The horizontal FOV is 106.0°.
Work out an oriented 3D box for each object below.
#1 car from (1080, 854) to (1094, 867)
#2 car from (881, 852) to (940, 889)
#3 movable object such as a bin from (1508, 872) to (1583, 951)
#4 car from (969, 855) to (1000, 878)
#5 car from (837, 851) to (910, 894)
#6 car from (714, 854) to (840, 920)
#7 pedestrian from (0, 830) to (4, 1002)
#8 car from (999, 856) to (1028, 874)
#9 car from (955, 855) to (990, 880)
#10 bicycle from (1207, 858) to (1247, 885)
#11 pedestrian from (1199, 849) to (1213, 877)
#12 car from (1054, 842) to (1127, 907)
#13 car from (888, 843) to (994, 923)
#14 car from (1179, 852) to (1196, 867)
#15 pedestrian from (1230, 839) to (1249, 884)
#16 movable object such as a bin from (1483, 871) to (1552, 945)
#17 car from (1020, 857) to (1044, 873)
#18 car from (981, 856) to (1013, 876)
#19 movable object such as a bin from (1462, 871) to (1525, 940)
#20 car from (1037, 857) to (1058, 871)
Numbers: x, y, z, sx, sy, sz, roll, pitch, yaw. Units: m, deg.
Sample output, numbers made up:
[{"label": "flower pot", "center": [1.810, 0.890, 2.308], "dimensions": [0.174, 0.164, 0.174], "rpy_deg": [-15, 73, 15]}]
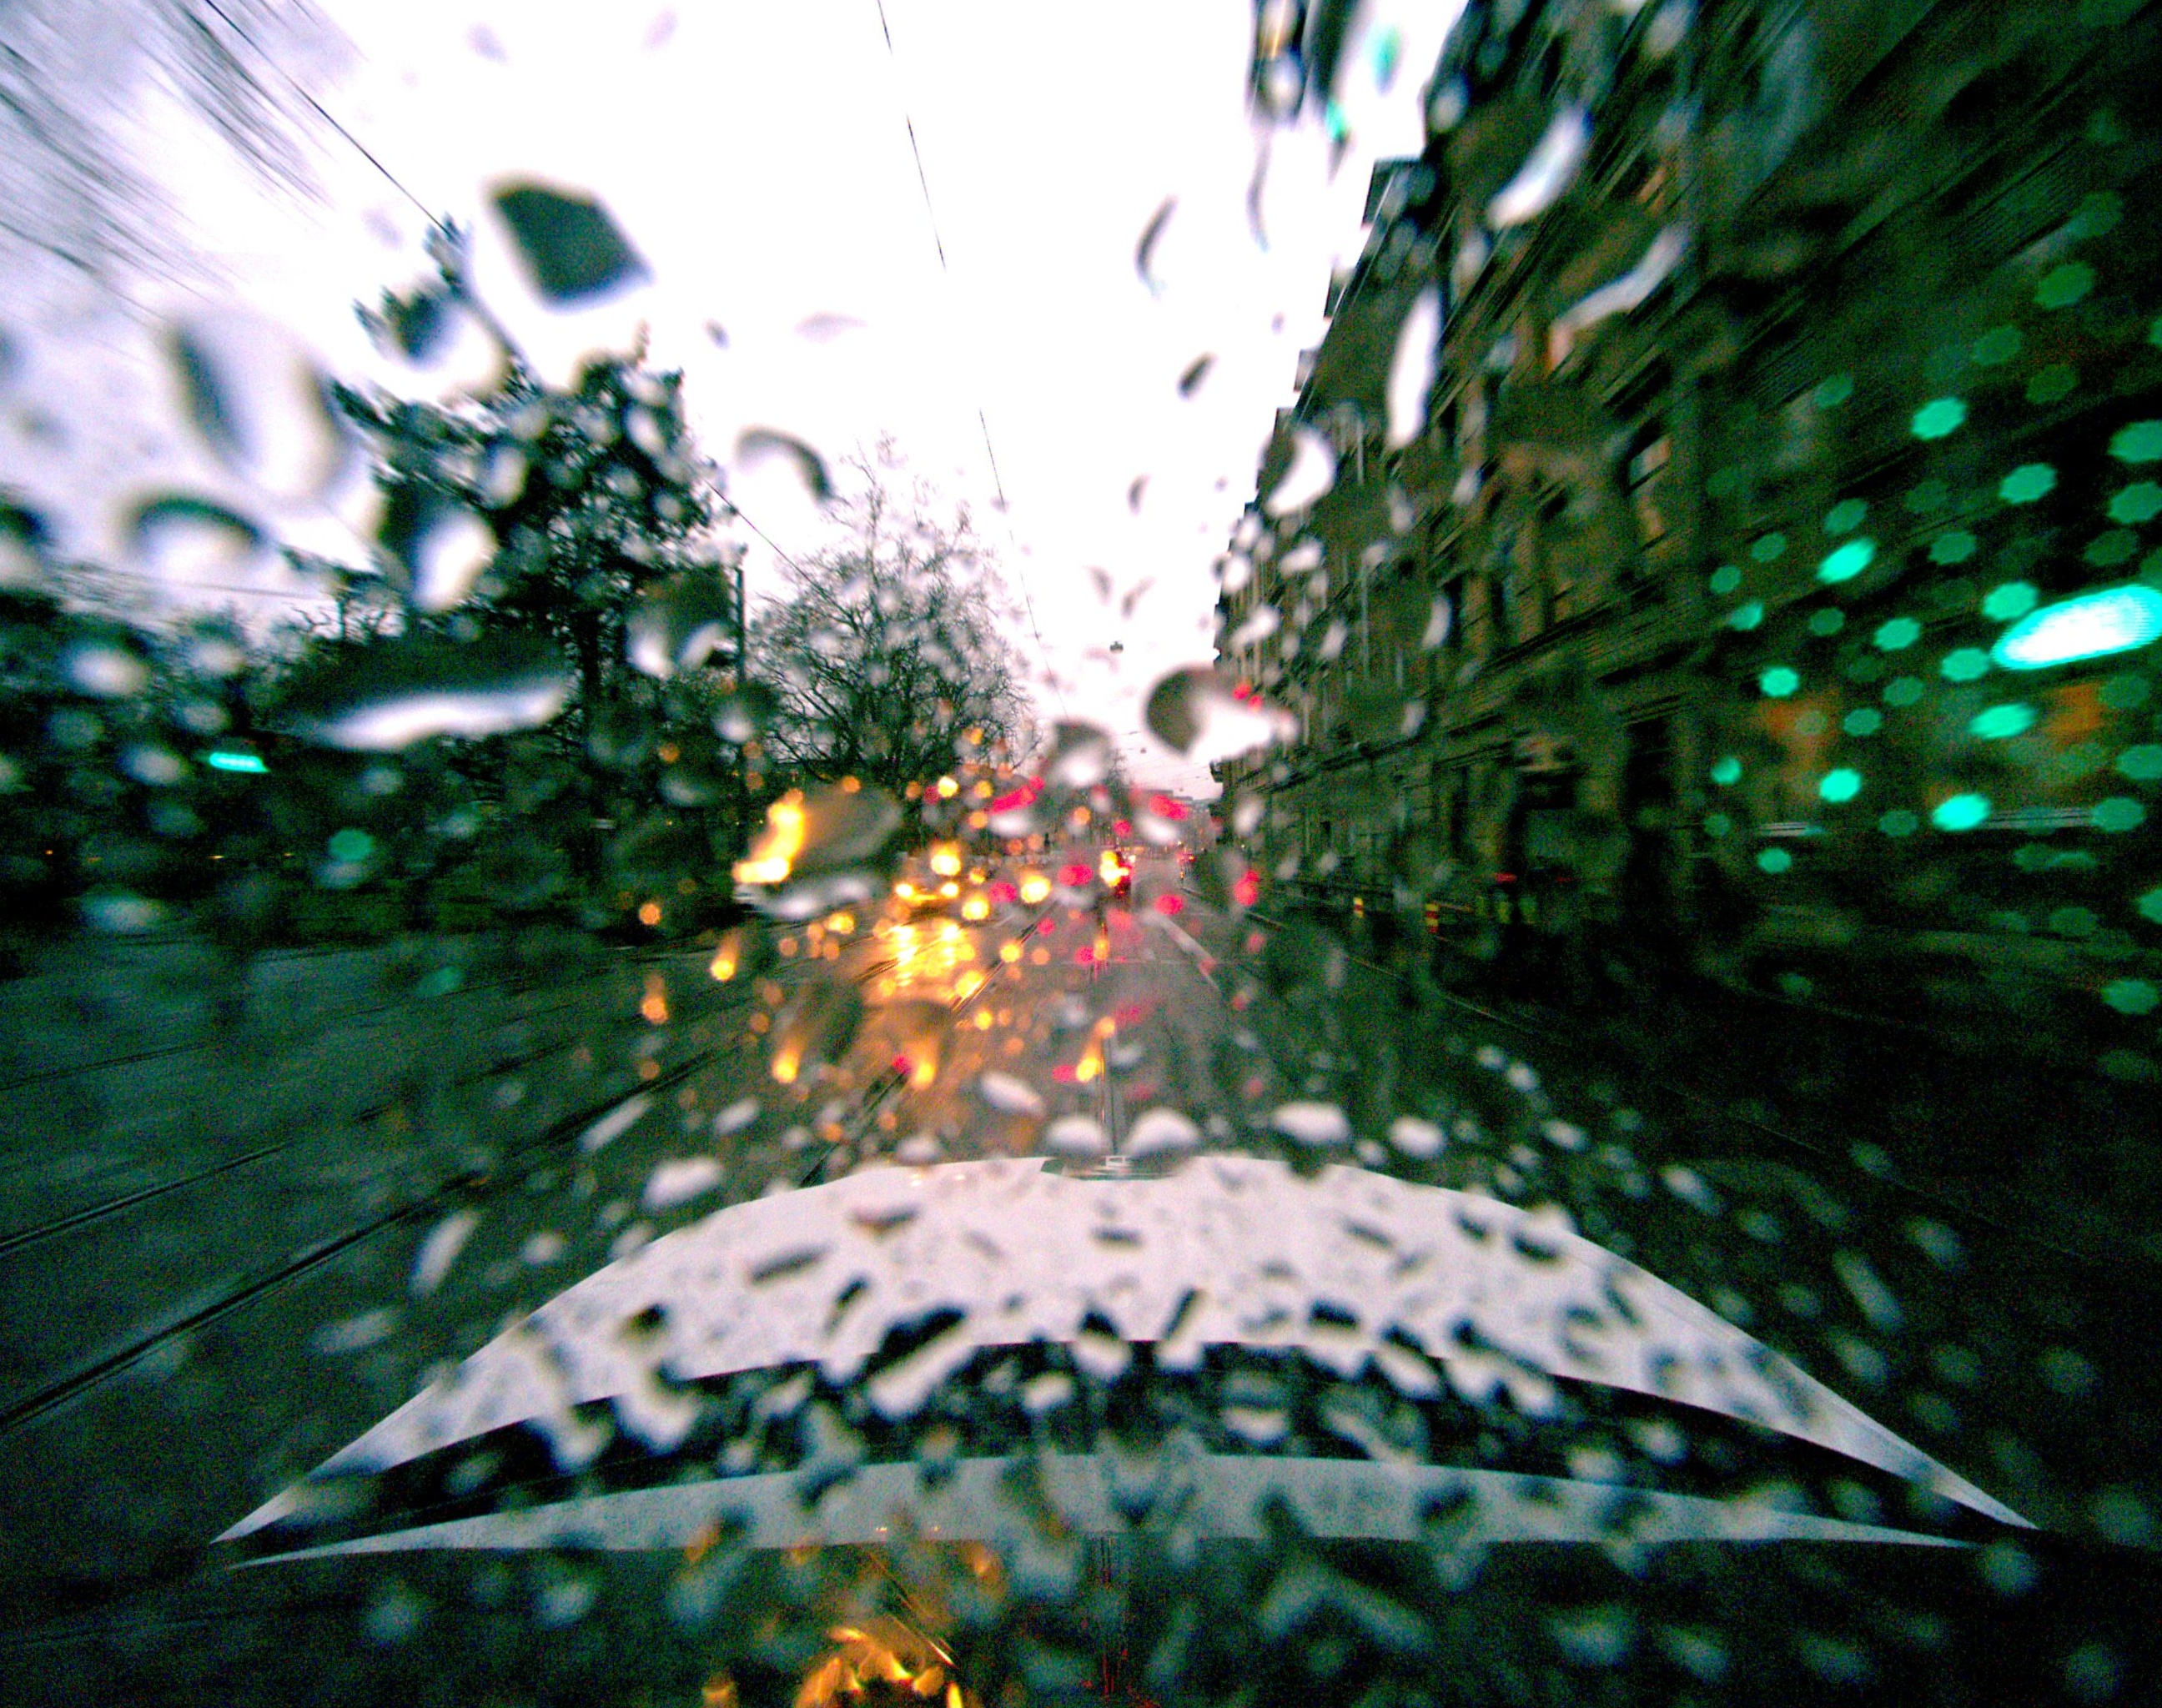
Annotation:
[{"label": "car", "center": [0.975, 0.993, 124.220], "dimensions": [1.986, 2.014, 4.001], "rpy_deg": [0, -1, 1]}, {"label": "car", "center": [-7.826, 0.748, 37.705], "dimensions": [1.979, 1.615, 4.424], "rpy_deg": [0, -1, -3]}, {"label": "movable object such as a bin", "center": [6.494, 0.788, 11.418], "dimensions": [0.638, 1.055, 0.744], "rpy_deg": [0, -1, 1]}, {"label": "car", "center": [-7.120, 0.926, 60.413], "dimensions": [1.979, 1.615, 4.424], "rpy_deg": [0, -1, -3]}, {"label": "car", "center": [-8.205, 0.710, 32.603], "dimensions": [1.979, 1.615, 4.424], "rpy_deg": [0, -1, -3]}, {"label": "car", "center": [-8.183, 0.829, 22.402], "dimensions": [1.979, 1.615, 4.424], "rpy_deg": [0, -1, -3]}, {"label": "pedestrian", "center": [-11.898, 0.653, 8.210], "dimensions": [0.814, 1.815, 1.014], "rpy_deg": [-1, -1, 17]}, {"label": "car", "center": [-6.214, 1.041, 75.481], "dimensions": [1.975, 1.615, 4.435], "rpy_deg": [0, -1, 5]}, {"label": "car", "center": [-7.235, 0.882, 54.760], "dimensions": [1.979, 1.615, 4.424], "rpy_deg": [0, -1, -3]}, {"label": "bicycle", "center": [6.434, 0.756, 36.081], "dimensions": [0.795, 1.144, 2.229], "rpy_deg": [0, -1, -17]}, {"label": "pedestrian", "center": [8.130, 0.596, 52.918], "dimensions": [0.769, 1.775, 0.685], "rpy_deg": [0, -1, 1]}, {"label": "car", "center": [0.388, 0.592, 25.227], "dimensions": [1.984, 1.842, 4.004], "rpy_deg": [-1, 0, 4]}, {"label": "car", "center": [-3.747, 0.747, 22.490], "dimensions": [1.985, 2.014, 4.004], "rpy_deg": [0, -1, 3]}, {"label": "car", "center": [13.597, 0.724, 104.178], "dimensions": [1.985, 1.842, 4.004], "rpy_deg": [-1, 0, 4]}, {"label": "pedestrian", "center": [7.072, 0.337, 36.282], "dimensions": [0.713, 1.953, 0.657], "rpy_deg": [0, -1, 1]}, {"label": "movable object such as a bin", "center": [6.514, 0.794, 12.186], "dimensions": [0.638, 1.055, 0.744], "rpy_deg": [0, -1, 1]}, {"label": "car", "center": [-5.170, 1.123, 86.599], "dimensions": [1.974, 1.615, 4.435], "rpy_deg": [0, -1, 5]}, {"label": "car", "center": [-7.116, 0.998, 69.262], "dimensions": [1.975, 1.615, 4.434], "rpy_deg": [0, -1, 4]}, {"label": "movable object such as a bin", "center": [6.542, 0.800, 12.950], "dimensions": [0.638, 1.055, 0.744], "rpy_deg": [0, -1, 1]}, {"label": "car", "center": [-3.857, 1.182, 95.006], "dimensions": [1.975, 1.615, 4.434], "rpy_deg": [0, -1, 4]}]
